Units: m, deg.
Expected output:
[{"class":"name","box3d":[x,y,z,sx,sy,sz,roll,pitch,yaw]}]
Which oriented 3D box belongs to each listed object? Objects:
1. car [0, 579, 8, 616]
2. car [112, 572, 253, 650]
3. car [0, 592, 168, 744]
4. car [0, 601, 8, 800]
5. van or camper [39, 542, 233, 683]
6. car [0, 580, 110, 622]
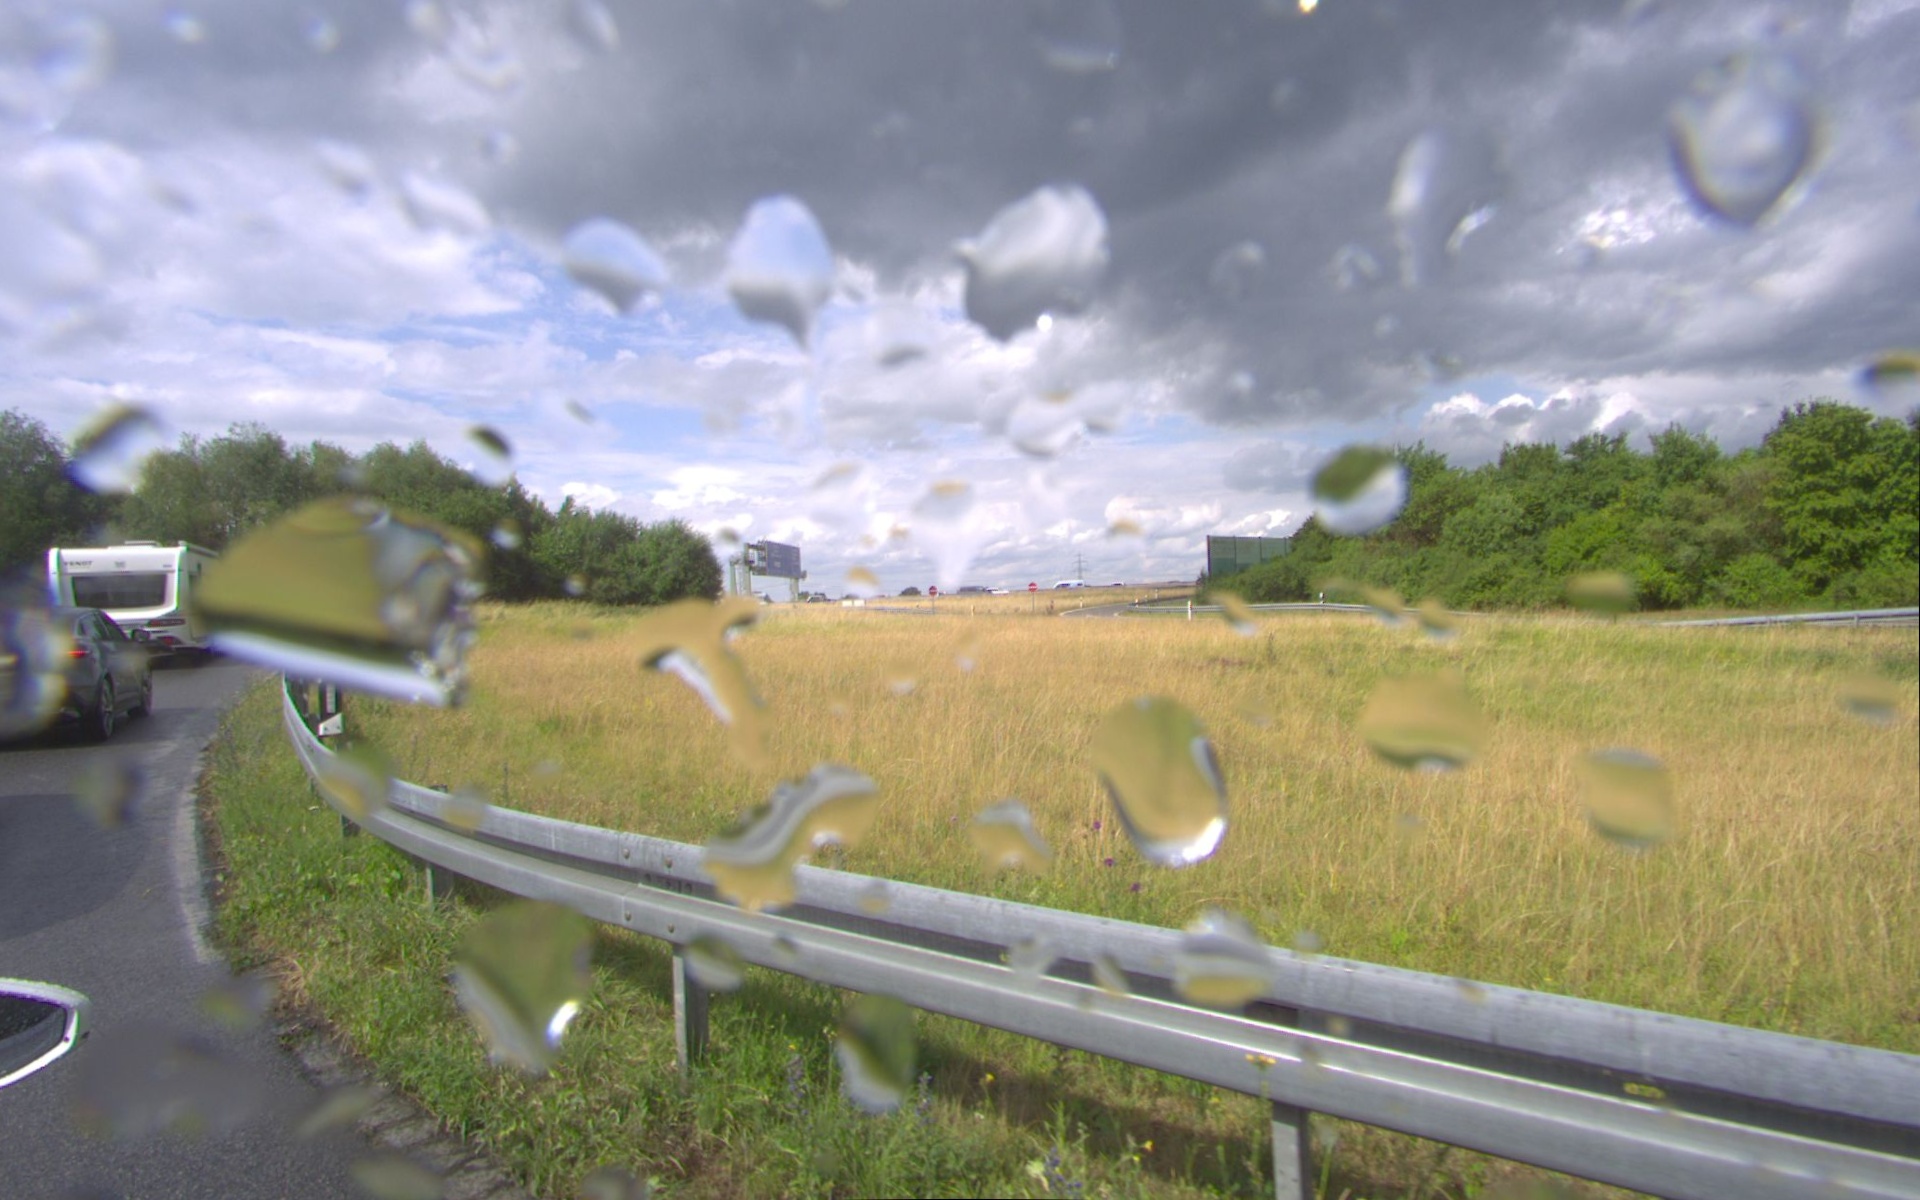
[{"class":"car","box3d":[-52.350,-0.058,51.697,4.961,1.886,1.999,-2,1,9]},{"class":"car","box3d":[-21.541,0.224,28.034,2.402,1.952,5.726,0,1,-31]},{"class":"car","box3d":[-10.937,0.712,11.942,1.698,1.545,3.978,-3,1,-30]},{"class":"car","box3d":[-6.908,0.768,5.421,1.899,1.527,4.562,1,0,-36]},{"class":"van or camper","box3d":[-18.606,0.104,23.000,2.403,2.768,5.965,0,3,-30]},{"class":"car","box3d":[-43.406,0.049,48.012,4.973,1.887,1.993,-1,2,24]}]
